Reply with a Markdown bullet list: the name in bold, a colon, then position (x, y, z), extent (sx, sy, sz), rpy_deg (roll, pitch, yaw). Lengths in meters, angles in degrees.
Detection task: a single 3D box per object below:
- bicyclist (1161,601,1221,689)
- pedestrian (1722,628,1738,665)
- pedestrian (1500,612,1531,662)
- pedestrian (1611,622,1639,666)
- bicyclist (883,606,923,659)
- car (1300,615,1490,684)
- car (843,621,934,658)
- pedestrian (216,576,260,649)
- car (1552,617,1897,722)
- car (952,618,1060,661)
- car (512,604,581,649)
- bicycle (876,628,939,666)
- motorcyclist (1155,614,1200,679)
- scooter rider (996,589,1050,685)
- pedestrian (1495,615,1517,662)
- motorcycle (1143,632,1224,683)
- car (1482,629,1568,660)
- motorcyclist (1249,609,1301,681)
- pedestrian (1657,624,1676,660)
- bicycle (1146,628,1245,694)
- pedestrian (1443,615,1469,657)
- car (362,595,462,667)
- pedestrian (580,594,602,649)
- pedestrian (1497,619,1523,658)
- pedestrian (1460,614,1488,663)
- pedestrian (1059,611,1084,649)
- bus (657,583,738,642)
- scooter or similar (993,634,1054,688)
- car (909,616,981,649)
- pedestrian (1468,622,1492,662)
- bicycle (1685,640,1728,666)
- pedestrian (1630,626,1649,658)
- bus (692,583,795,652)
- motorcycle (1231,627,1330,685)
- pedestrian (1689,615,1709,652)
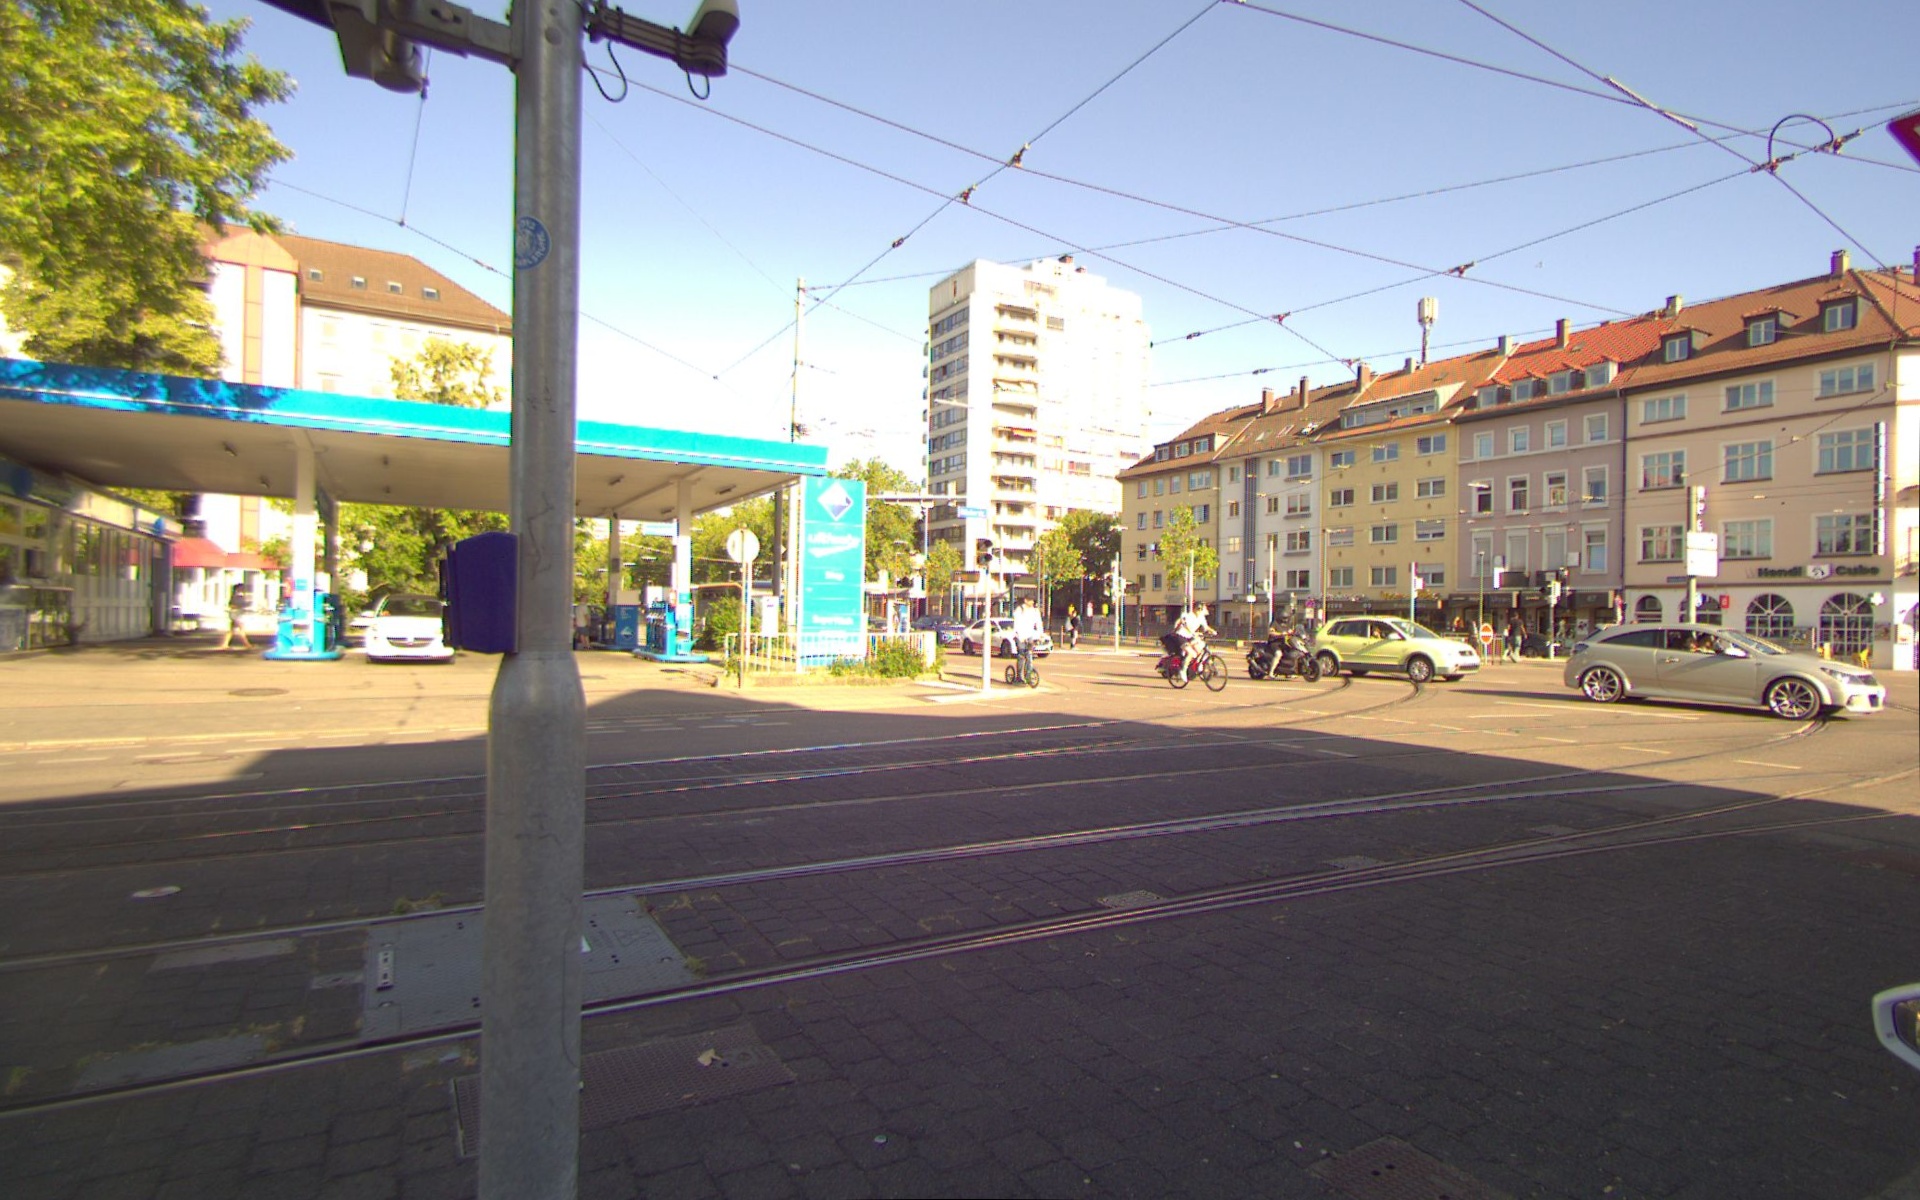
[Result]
- **bicyclist**: position (4.665, 0.888, 20.286), extent (0.727, 1.735, 0.932), rpy_deg (1, -1, -37)
- **pedestrian**: position (26.966, 1.628, 35.159), extent (0.447, 1.270, 0.361), rpy_deg (1, -1, -41)
- **pedestrian**: position (21.023, 1.399, 37.996), extent (0.714, 1.853, 0.763), rpy_deg (1, -1, -30)
- **pedestrian**: position (26.373, 1.726, 39.831), extent (0.621, 1.704, 0.737), rpy_deg (1, -1, -30)
- **bicyclist**: position (-1.848, 1.035, 32.339), extent (0.923, 1.659, 1.020), rpy_deg (1, -1, -28)
- **car**: position (10.455, 1.134, 24.375), extent (1.725, 1.518, 3.927), rpy_deg (1, -1, -36)
- **car**: position (-2.877, 1.519, 39.603), extent (1.630, 1.399, 4.241), rpy_deg (1, -2, -36)
- **pedestrian**: position (-17.423, 0.309, 24.268), extent (0.751, 1.715, 0.583), rpy_deg (1, -1, -28)
- **car**: position (12.420, 1.043, 16.588), extent (1.725, 1.460, 4.239), rpy_deg (2, -1, -36)
- **car**: position (1.650, 1.431, 37.782), extent (1.723, 1.492, 4.644), rpy_deg (1, -1, -33)
- **car**: position (-13.582, 0.851, 32.880), extent (1.697, 1.360, 3.970), rpy_deg (1, -1, -28)
- **bicycle**: position (-1.693, 1.486, 32.001), extent (1.047, 1.116, 2.500), rpy_deg (1, -1, -29)
- **motorcyclist**: position (5.239, 1.104, 24.213), extent (0.654, 1.527, 0.807), rpy_deg (1, -1, -41)
- **scooter rider**: position (1.305, 0.758, 20.853), extent (0.788, 1.937, 0.791), rpy_deg (1, 0, -30)
- **pedestrian**: position (21.425, 1.511, 39.415), extent (0.553, 1.810, 0.557), rpy_deg (1, -1, -30)
- **motorcycle**: position (5.329, 1.355, 24.088), extent (0.500, 1.133, 2.008), rpy_deg (1, -1, -40)
- **car**: position (30.740, 2.394, 54.778), extent (1.795, 1.511, 3.715), rpy_deg (2, 0, -27)
- **motorcyclist**: position (7.394, 1.038, 23.559), extent (0.810, 1.642, 0.824), rpy_deg (2, 0, -41)
- **pedestrian**: position (33.899, 2.020, 48.178), extent (0.731, 1.704, 0.626), rpy_deg (0, -1, 35)
- **bicycle**: position (4.723, 1.196, 20.255), extent (0.736, 1.239, 1.909), rpy_deg (1, -1, -37)
- **pedestrian**: position (19.509, 1.408, 39.509), extent (0.565, 1.657, 0.737), rpy_deg (1, -1, -30)
- **car**: position (-12.362, 0.666, 22.559), extent (1.793, 1.461, 3.966), rpy_deg (1, -1, -31)
- **pedestrian**: position (-11.789, 0.683, 32.056), extent (0.579, 1.715, 0.756), rpy_deg (1, -1, -25)
- **pedestrian**: position (24.178, 1.676, 44.152), extent (0.621, 1.704, 0.763), rpy_deg (1, -1, -30)
- **pedestrian**: position (19.752, 1.479, 38.615), extent (0.769, 1.874, 0.625), rpy_deg (1, -1, -30)
- **pedestrian**: position (4.853, 1.301, 43.720), extent (0.788, 1.632, 0.766), rpy_deg (1, -1, -36)
- **bus**: position (-16.695, 0.692, 63.464), extent (2.755, 3.504, 8.571), rpy_deg (0, 1, -30)
- **scooter or similar**: position (1.311, 1.262, 20.980), extent (0.558, 1.057, 1.424), rpy_deg (1, -1, -30)
- **car**: position (-0.778, 1.526, 47.871), extent (1.697, 1.439, 4.149), rpy_deg (1, -1, -28)
- **pedestrian**: position (21.258, 1.720, 41.054), extent (0.553, 1.602, 0.695), rpy_deg (1, -1, -30)
- **bicycle**: position (37.748, 2.669, 50.789), extent (1.693, 1.293, 0.385), rpy_deg (0, -1, 44)
- **pedestrian**: position (36.344, 2.242, 53.715), extent (0.623, 1.704, 0.734), rpy_deg (1, -1, -41)
- **bus**: position (-12.192, 0.817, 55.721), extent (2.748, 3.504, 9.364), rpy_deg (0, 1, -31)
- **motorcycle**: position (7.462, 1.282, 23.477), extent (0.689, 1.244, 2.186), rpy_deg (1, -1, -40)
- **pedestrian**: position (34.574, 1.571, 47.027), extent (0.731, 1.704, 0.626), rpy_deg (0, -1, 35)
